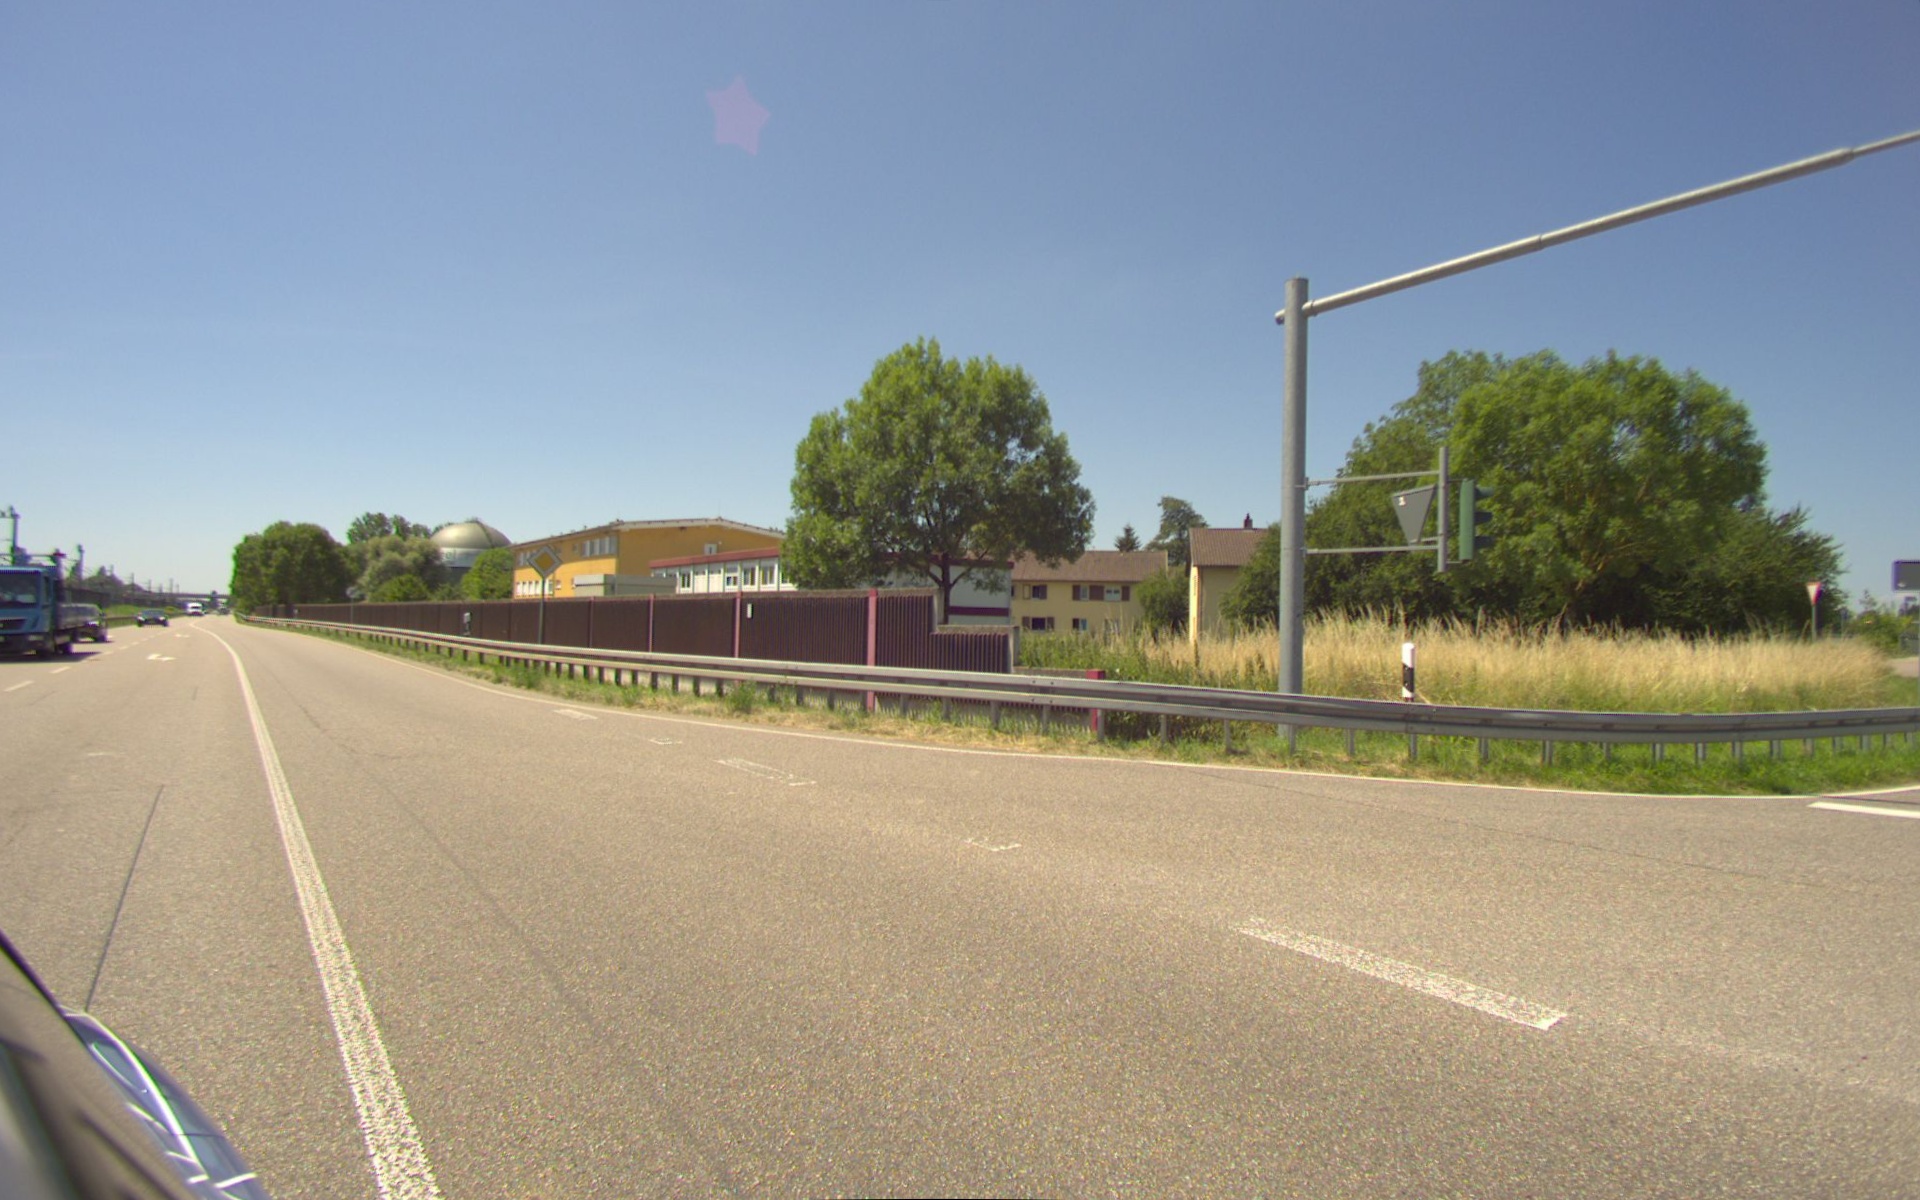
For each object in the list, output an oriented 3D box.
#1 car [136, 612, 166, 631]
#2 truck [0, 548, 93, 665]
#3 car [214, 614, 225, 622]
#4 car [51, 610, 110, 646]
[{"bbox_3d":[-66.057,1.747,82.676,1.702,1.484,3.898,1,-1,-36],"label":"car"},{"bbox_3d":[-28.566,0.212,30.782,2.576,3.064,10.679,1,-1,-37],"label":"truck"},{"bbox_3d":[-155.777,3.782,212.823,1.862,1.753,4.787,1,-1,-37],"label":"car"},{"bbox_3d":[-38.234,1.208,44.054,1.703,1.484,4.184,1,-1,-38],"label":"car"}]
